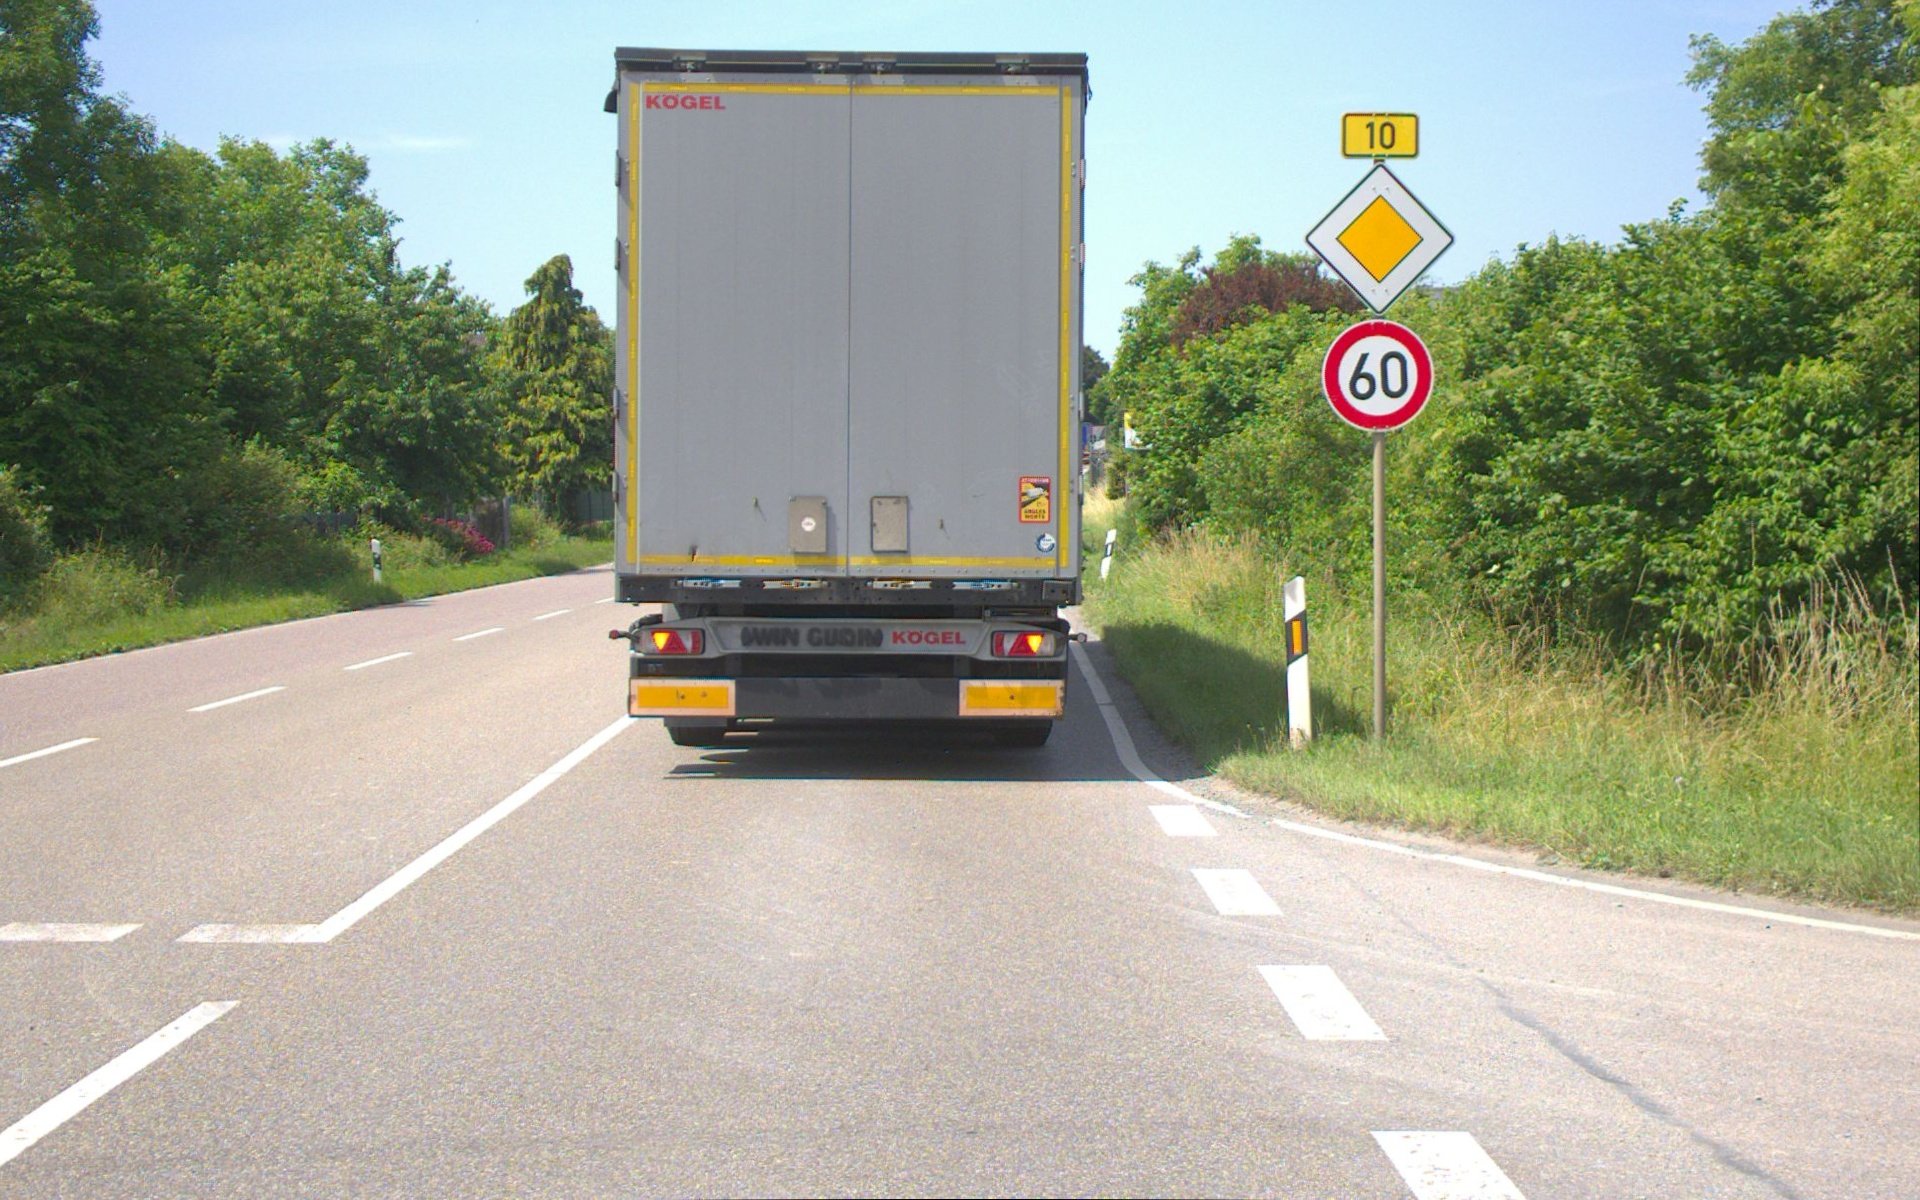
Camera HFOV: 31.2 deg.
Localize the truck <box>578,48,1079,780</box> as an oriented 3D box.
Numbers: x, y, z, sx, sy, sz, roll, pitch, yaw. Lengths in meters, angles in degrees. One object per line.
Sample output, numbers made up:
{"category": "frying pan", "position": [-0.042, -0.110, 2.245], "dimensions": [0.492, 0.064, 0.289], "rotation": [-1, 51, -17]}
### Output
{"category": "truck", "position": [-0.700, -1.142, 22.939], "dimensions": [2.647, 3.903, 8.826], "rotation": [1, 2, 0]}
